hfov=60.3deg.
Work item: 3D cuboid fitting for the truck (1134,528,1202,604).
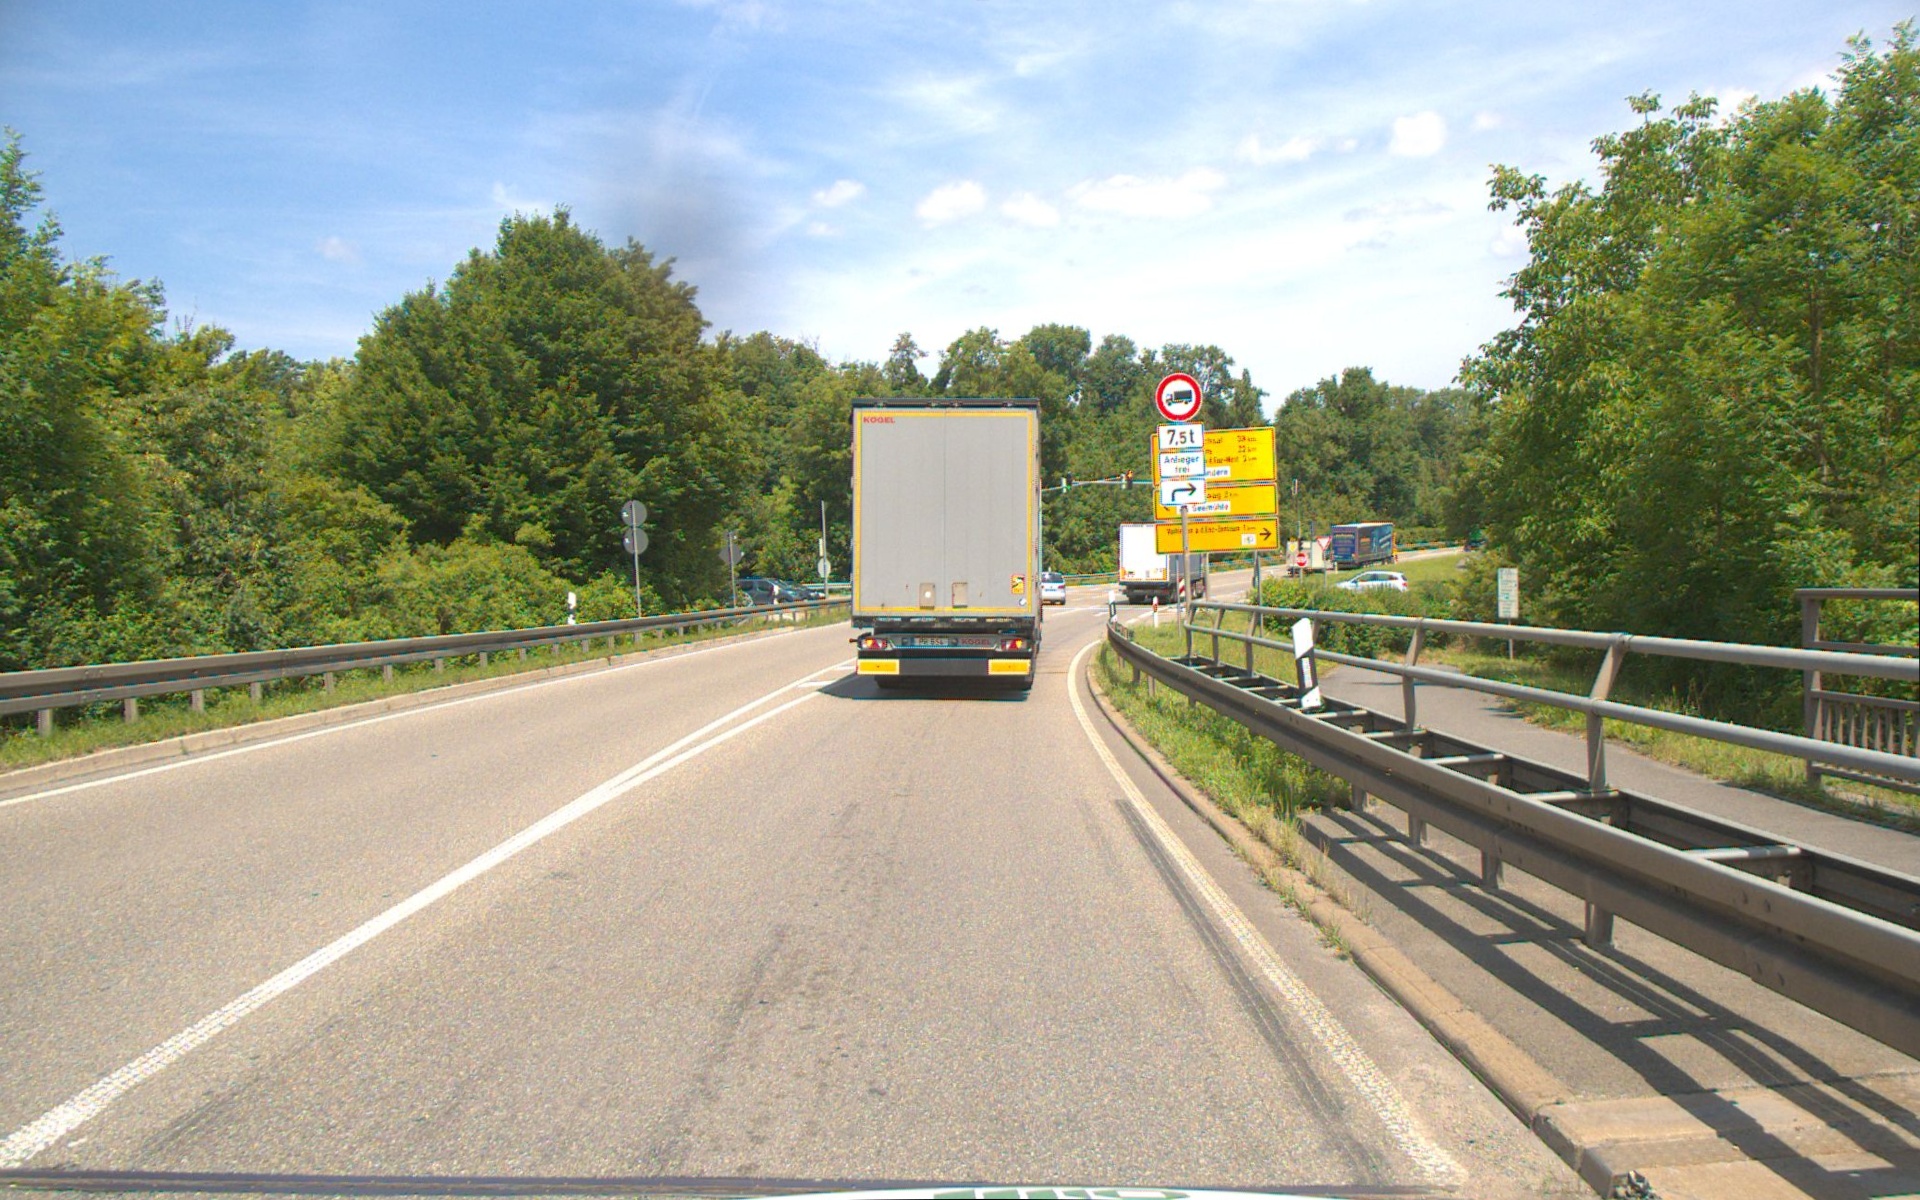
[{"bbox_3d":[11.697,-1.841,92.566,3.101,4.074,5.820,0,0,14],"label":"truck"}]

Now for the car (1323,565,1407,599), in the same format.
[{"bbox_3d":[21.752,-0.951,88.976,4.333,1.748,2.001,1,-1,13],"label":"car"}]

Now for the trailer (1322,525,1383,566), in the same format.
[{"bbox_3d":[37.037,-5.111,155.713,3.190,3.749,9.235,1,1,29],"label":"trailer"}]

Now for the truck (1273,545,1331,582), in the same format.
[{"bbox_3d":[29.070,-3.090,140.317,2.802,2.999,7.092,1,1,29],"label":"truck"}]

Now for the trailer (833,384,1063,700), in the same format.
[{"bbox_3d":[0.034,-0.804,27.815,2.988,4.104,12.562,0,0,2],"label":"trailer"}]

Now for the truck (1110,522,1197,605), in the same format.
[{"bbox_3d":[10.317,-1.808,86.999,3.111,4.099,11.754,0,0,14],"label":"truck"}]

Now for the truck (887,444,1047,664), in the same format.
[{"bbox_3d":[0.233,-0.880,34.167,2.975,4.104,6.631,0,0,2],"label":"truck"}]

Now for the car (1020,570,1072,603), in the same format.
[{"bbox_3d":[4.351,-0.664,83.480,1.951,1.545,4.003,1,-1,13],"label":"car"}]

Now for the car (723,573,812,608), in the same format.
[{"bbox_3d":[-9.970,-0.480,85.675,4.144,1.801,2.001,0,0,18],"label":"car"}]
